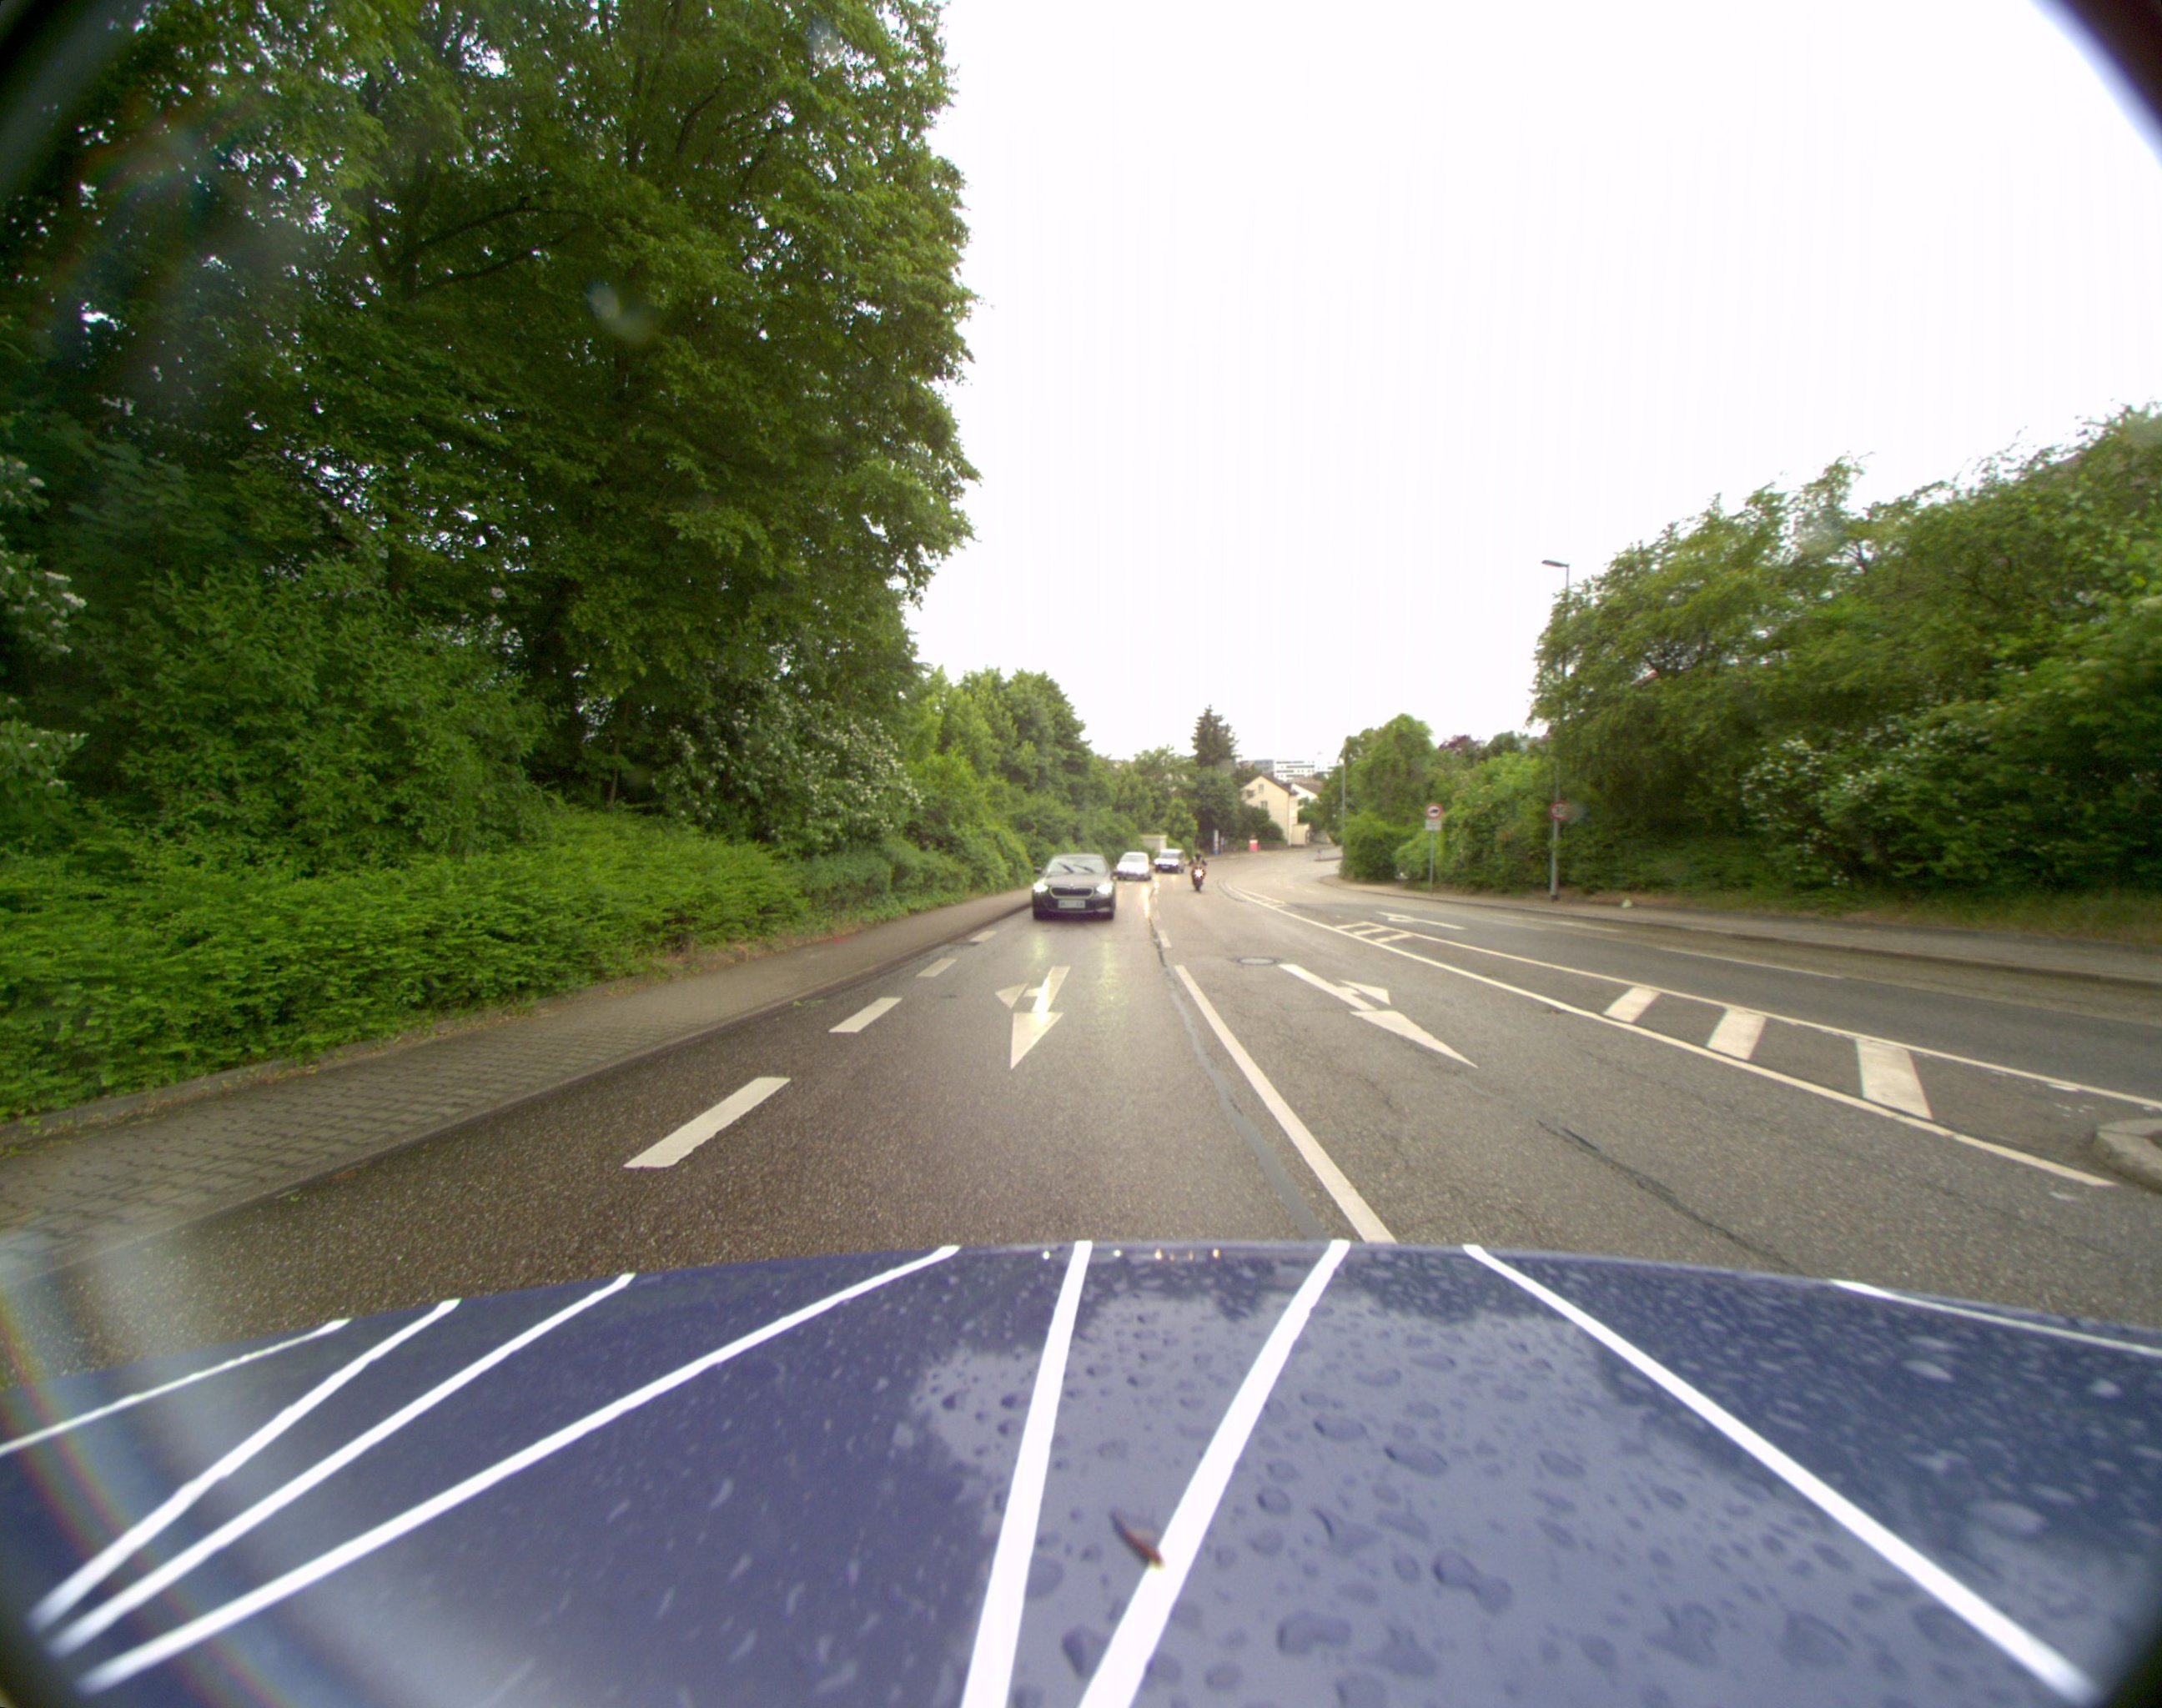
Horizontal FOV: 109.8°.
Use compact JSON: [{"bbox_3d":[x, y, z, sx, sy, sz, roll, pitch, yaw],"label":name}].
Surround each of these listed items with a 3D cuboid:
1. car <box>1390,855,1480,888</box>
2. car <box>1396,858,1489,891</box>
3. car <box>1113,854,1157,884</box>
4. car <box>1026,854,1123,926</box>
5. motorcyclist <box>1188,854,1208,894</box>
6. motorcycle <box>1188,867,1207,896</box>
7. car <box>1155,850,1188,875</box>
[{"bbox_3d":[19.444,0.957,41.872,3.995,1.527,2.001,-4,0,8],"label":"car"},{"bbox_3d":[18.550,1.045,39.162,3.908,1.432,1.812,-4,0,9],"label":"car"},{"bbox_3d":[3.061,0.800,42.214,1.816,1.430,4.003,3,1,12],"label":"car"},{"bbox_3d":[-0.034,0.792,18.718,1.871,1.497,4.199,1,1,6],"label":"car"},{"bbox_3d":[4.928,0.832,32.052,0.766,1.633,0.674,2,2,5],"label":"motorcyclist"},{"bbox_3d":[4.920,1.150,32.088,0.692,1.047,1.748,3,2,7],"label":"motorcycle"},{"bbox_3d":[7.059,0.659,58.999,1.775,1.765,4.005,4,1,17],"label":"car"}]
